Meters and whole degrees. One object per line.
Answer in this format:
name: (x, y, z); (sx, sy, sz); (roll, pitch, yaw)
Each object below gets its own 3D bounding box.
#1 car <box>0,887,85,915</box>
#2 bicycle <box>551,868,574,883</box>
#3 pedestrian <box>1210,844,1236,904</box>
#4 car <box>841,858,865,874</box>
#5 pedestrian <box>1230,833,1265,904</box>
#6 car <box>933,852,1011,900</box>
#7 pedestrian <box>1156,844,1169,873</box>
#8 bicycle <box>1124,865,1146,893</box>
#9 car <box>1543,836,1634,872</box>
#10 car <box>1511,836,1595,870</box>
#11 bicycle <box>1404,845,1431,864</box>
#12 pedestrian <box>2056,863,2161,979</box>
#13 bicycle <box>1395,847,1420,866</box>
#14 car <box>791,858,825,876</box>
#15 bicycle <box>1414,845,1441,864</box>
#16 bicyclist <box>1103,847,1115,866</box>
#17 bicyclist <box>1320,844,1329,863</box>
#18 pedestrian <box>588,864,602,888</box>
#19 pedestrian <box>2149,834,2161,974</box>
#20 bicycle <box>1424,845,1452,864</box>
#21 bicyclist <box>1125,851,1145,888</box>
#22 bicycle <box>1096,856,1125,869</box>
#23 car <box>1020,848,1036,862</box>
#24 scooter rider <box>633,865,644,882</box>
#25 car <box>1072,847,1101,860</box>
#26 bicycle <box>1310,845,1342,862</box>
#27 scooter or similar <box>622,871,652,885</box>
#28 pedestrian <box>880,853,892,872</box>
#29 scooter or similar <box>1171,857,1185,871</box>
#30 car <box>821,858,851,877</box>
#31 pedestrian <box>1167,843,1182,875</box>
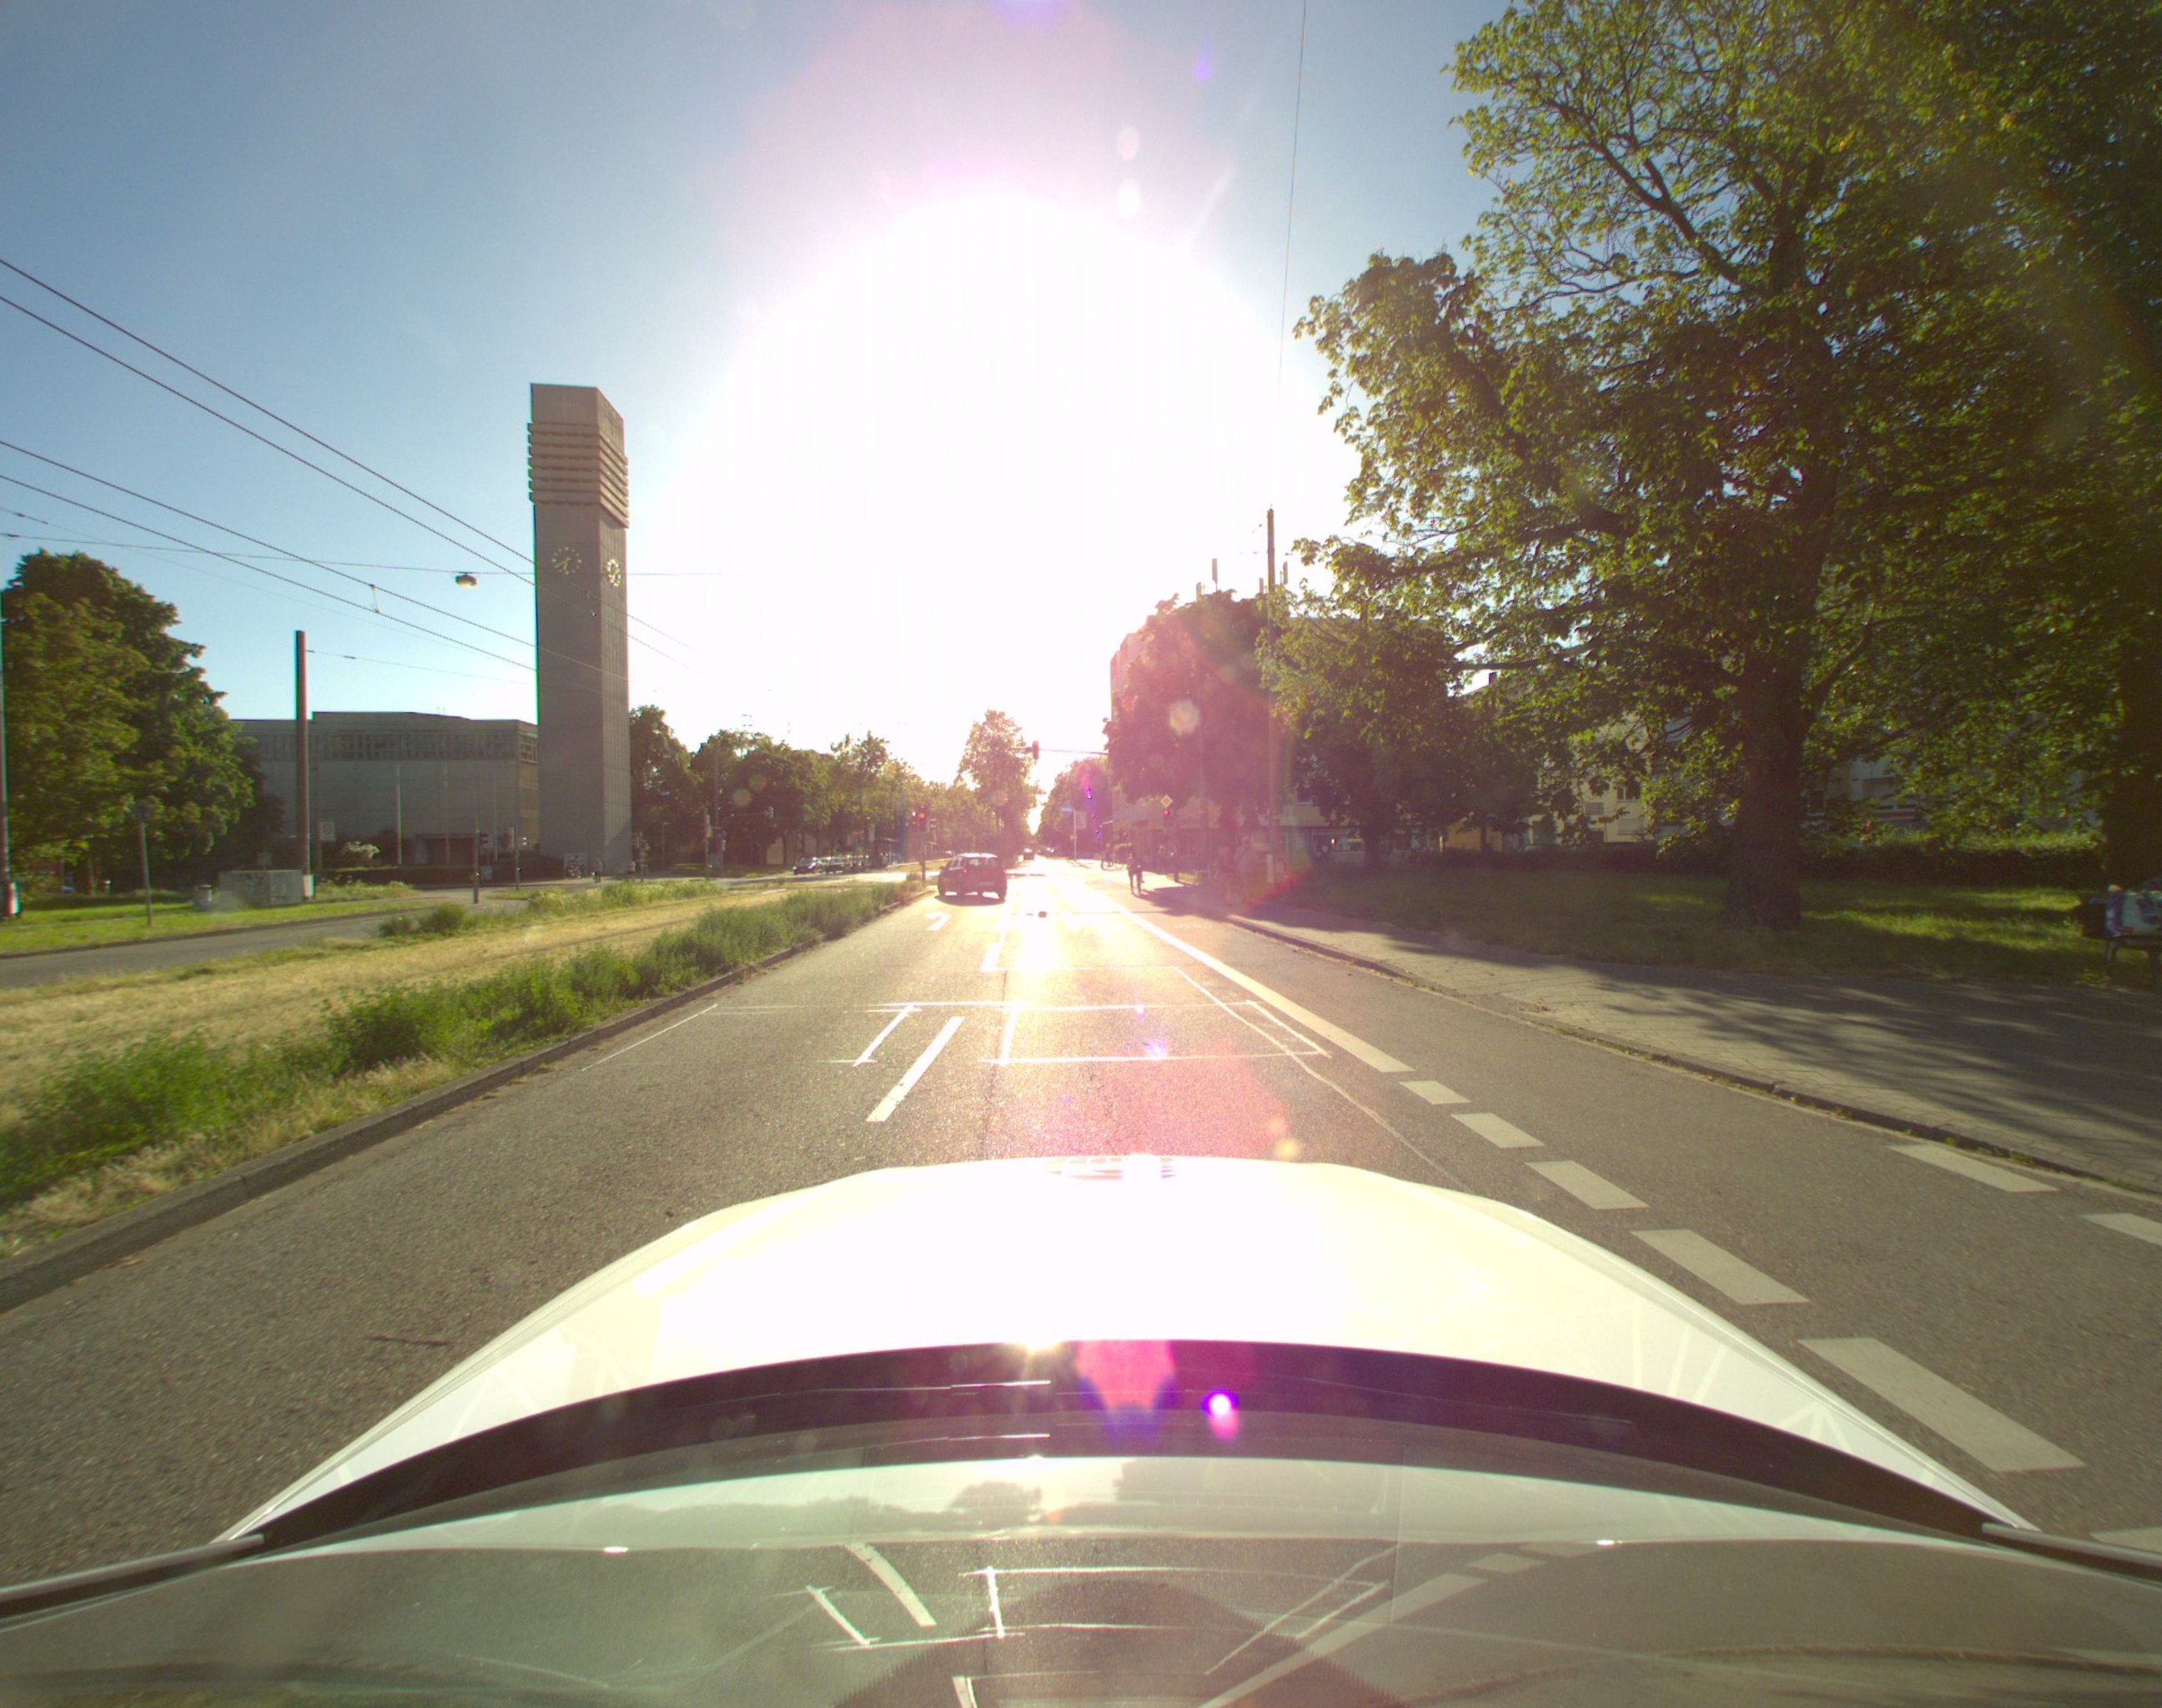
car: (-59.179, 2.623, 45.223); (4.703, 1.401, 1.993); (1, 0, -10)
bicycle: (-37.692, 1.544, 59.257); (0.489, 1.045, 1.685); (1, 0, 4)
pedestrian: (3.722, 0.522, 21.377); (0.527, 1.528, 0.628); (-3, 0, 1)
car: (-22.669, 1.173, 81.095); (1.563, 1.402, 3.910); (1, 0, -4)
pedestrian: (4.351, 0.358, 21.335); (0.700, 1.789, 0.694); (-4, 1, 1)
car: (-3.802, 0.695, 27.953); (1.702, 1.508, 3.670); (0, 0, -24)
pedestrian: (4.358, 0.231, 43.795); (0.643, 1.522, 0.497); (1, 0, 8)
bicycle: (1.964, 0.896, 29.617); (0.646, 0.972, 1.803); (1, 0, -1)
car: (23.159, -0.009, 37.208); (3.244, 1.529, 1.572); (-2, 0, -6)
car: (22.922, -0.060, 39.592); (3.244, 1.529, 1.572); (-2, 0, -6)
bicycle: (19.295, 0.011, 46.754); (0.596, 1.034, 2.004); (1, 0, -4)
pedestrian: (9.055, 0.569, 7.133); (0.399, 0.934, 0.626); (1, 2, 23)
bicycle: (18.689, 0.125, 46.631); (0.596, 1.034, 1.793); (1, 0, -4)
car: (-24.781, 1.151, 73.963); (1.803, 1.533, 4.355); (-2, 0, -4)
bicycle: (19.972, 0.029, 46.948); (0.596, 1.034, 1.988); (1, 0, -4)
bicyclist: (2.299, 0.227, 66.199); (0.763, 1.471, 0.901); (-2, 1, 13)
bicyclist: (20.042, -0.047, 67.008); (0.526, 1.567, 0.463); (1, 0, -6)
pedestrian: (-33.302, 1.505, 55.843); (0.441, 1.666, 0.747); (1, 0, 6)
pedestrian: (9.547, 0.443, 6.819); (0.399, 1.226, 0.765); (1, 0, 23)
bicycle: (20.570, 0.031, 46.978); (0.596, 1.034, 2.004); (1, 0, -4)
bicyclist: (1.957, 0.554, 29.787); (0.636, 1.323, 0.802); (1, 0, -2)
bicycle: (2.383, 0.718, 66.169); (2.237, 0.987, 0.791); (0, 5, 11)
car: (-7.242, 0.081, 111.131); (1.965, 1.860, 3.993); (1, 0, -5)
scooter rider: (-30.856, 1.360, 56.795); (0.527, 1.218, 0.584); (1, 0, -20)
car: (0.742, -0.065, 118.473); (3.966, 1.860, 2.016); (1, 0, 7)
bicycle: (20.338, -0.031, 67.582); (2.466, 1.399, 0.607); (1, 0, -6)
scooter or similar: (-30.923, 1.674, 56.771); (1.740, 0.899, 0.560); (-2, 0, -20)
pedestrian: (-16.183, 0.696, 67.664); (0.889, 1.606, 0.613); (1, 0, -4)
scooter or similar: (5.153, 0.521, 43.200); (0.597, 0.737, 0.680); (1, 0, -5)
car: (-22.327, 1.224, 74.382); (1.684, 1.533, 4.355); (-2, 0, -4)
pedestrian: (5.020, 0.271, 43.815); (0.725, 1.682, 0.534); (1, 0, 8)
